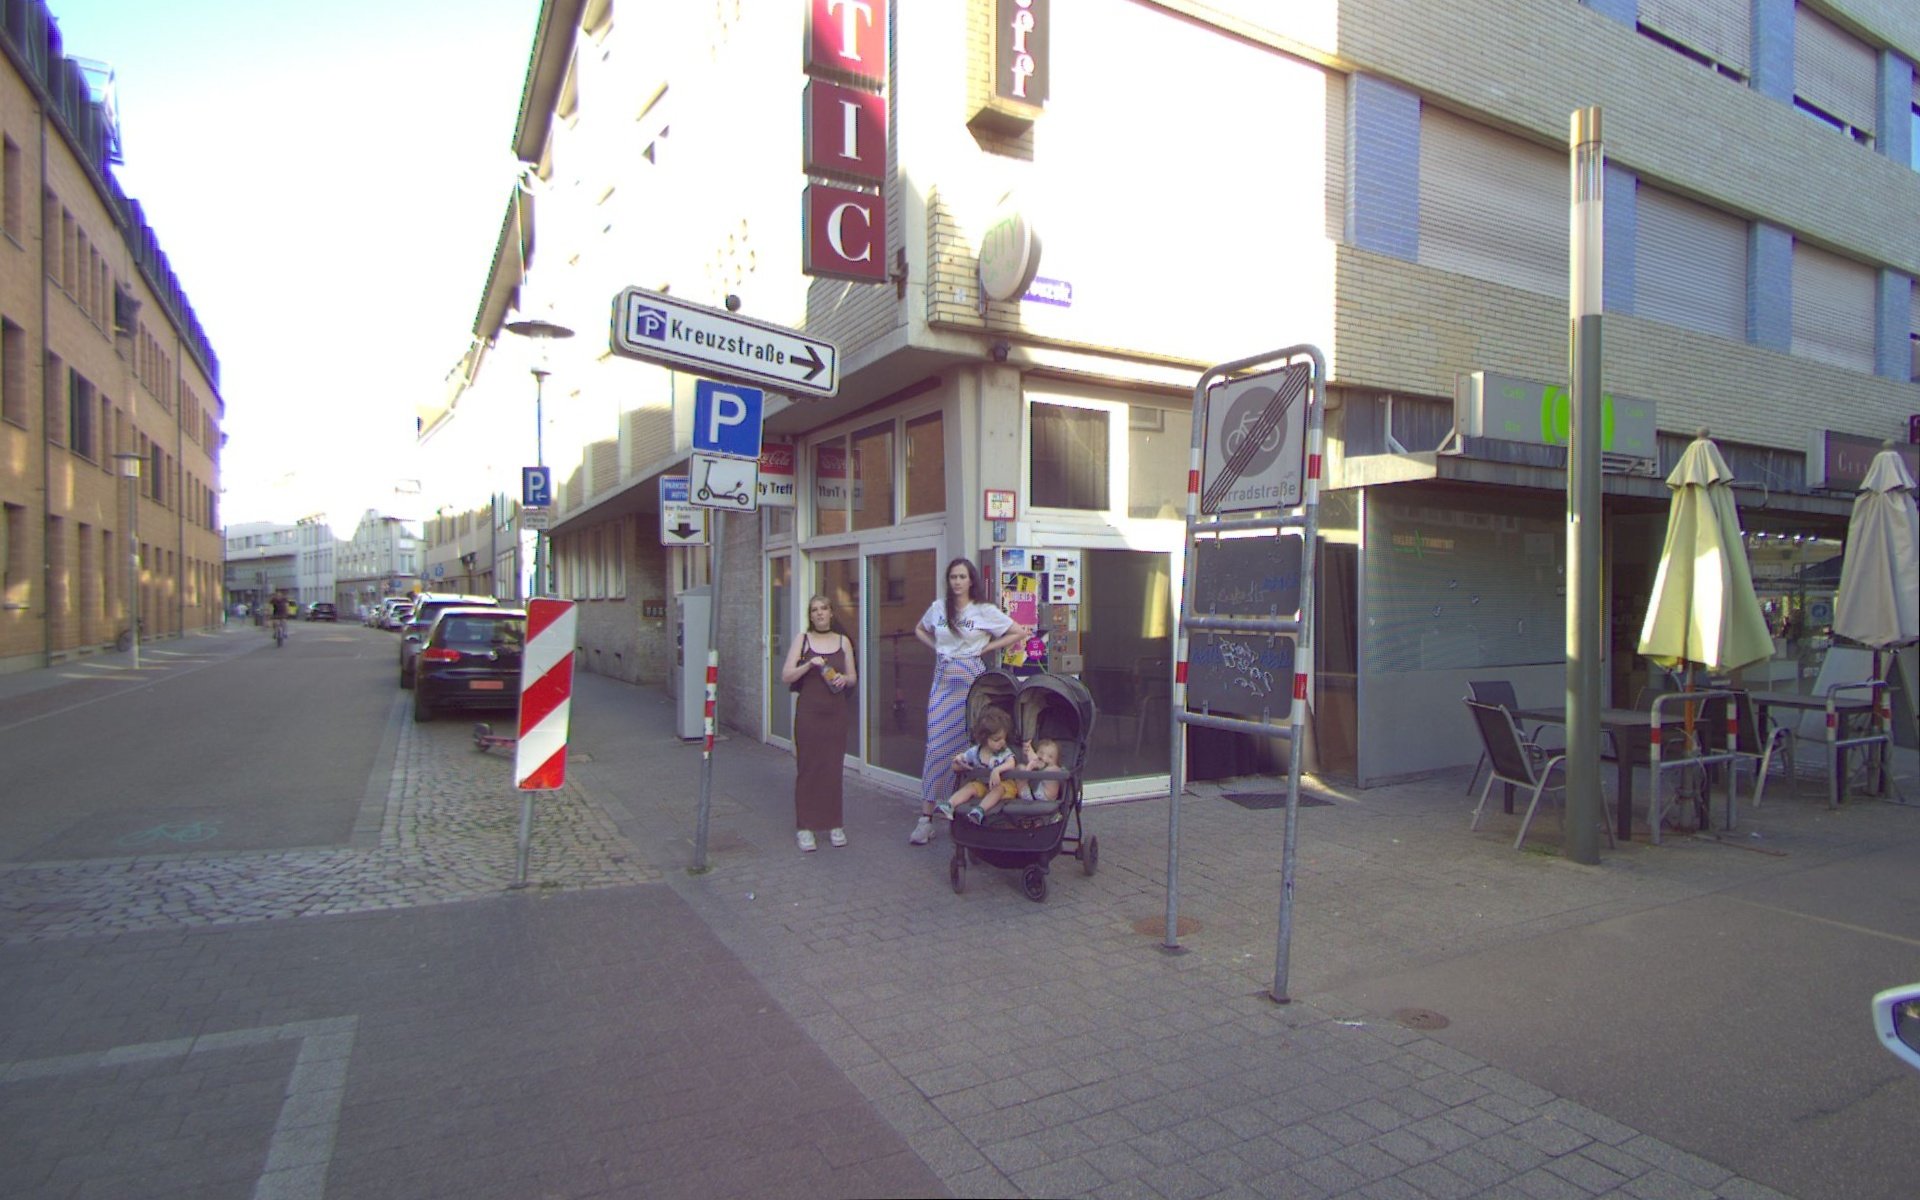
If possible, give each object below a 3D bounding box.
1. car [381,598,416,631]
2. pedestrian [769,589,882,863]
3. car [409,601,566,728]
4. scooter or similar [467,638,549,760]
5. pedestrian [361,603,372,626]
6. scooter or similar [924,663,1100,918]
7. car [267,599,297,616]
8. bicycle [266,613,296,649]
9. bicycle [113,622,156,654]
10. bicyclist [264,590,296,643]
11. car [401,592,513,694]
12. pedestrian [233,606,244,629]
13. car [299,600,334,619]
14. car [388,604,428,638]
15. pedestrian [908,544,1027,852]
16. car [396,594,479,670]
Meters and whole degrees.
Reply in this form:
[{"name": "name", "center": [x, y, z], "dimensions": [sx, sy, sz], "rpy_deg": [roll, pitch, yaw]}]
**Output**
[{"name": "car", "center": [-32.853, 0.861, 58.737], "dimensions": [1.674, 1.798, 3.625], "rpy_deg": [3, -2, -31]}, {"name": "pedestrian", "center": [-0.847, 0.749, 6.280], "dimensions": [0.526, 1.601, 0.508], "rpy_deg": [-3, 1, -23]}, {"name": "car", "center": [-6.771, 0.818, 14.198], "dimensions": [1.720, 1.505, 3.782], "rpy_deg": [3, -1, -29]}, {"name": "scooter or similar", "center": [-4.593, 0.991, 10.202], "dimensions": [0.865, 1.199, 0.208], "rpy_deg": [0, 0, 21]}, {"name": "pedestrian", "center": [-39.456, 0.964, 66.796], "dimensions": [0.566, 1.499, 0.469], "rpy_deg": [0, 0, -37]}, {"name": "scooter or similar", "center": [0.316, 0.961, 5.427], "dimensions": [0.783, 1.159, 0.954], "rpy_deg": [0, 1, 14]}, {"name": "car", "center": [-66.746, 0.736, 98.840], "dimensions": [1.922, 1.673, 3.788], "rpy_deg": [2, -1, -43]}, {"name": "bicycle", "center": [-22.153, 0.996, 32.757], "dimensions": [0.698, 1.118, 1.809], "rpy_deg": [-4, 2, -35]}, {"name": "bicycle", "center": [-24.790, 1.119, 30.190], "dimensions": [0.636, 0.893, 2.535], "rpy_deg": [1, -1, -31]}, {"name": "bicyclist", "center": [-22.195, 0.546, 32.785], "dimensions": [0.766, 1.678, 0.947], "rpy_deg": [-3, 1, -37]}, {"name": "car", "center": [-9.511, 0.764, 18.874], "dimensions": [1.654, 1.683, 4.050], "rpy_deg": [3, -2, -29]}, {"name": "pedestrian", "center": [-48.734, 1.195, 67.863], "dimensions": [0.537, 1.565, 0.402], "rpy_deg": [1, -1, -31]}, {"name": "car", "center": [-55.760, 0.817, 86.976], "dimensions": [1.922, 1.673, 3.788], "rpy_deg": [0, 0, -43]}, {"name": "car", "center": [-29.576, 1.108, 53.788], "dimensions": [1.674, 1.701, 3.478], "rpy_deg": [3, -2, -31]}, {"name": "pedestrian", "center": [0.050, 0.592, 6.355], "dimensions": [0.647, 1.844, 0.571], "rpy_deg": [-2, 1, 1]}, {"name": "car", "center": [-13.110, 0.772, 25.133], "dimensions": [1.654, 1.727, 3.982], "rpy_deg": [3, -2, -29]}]
